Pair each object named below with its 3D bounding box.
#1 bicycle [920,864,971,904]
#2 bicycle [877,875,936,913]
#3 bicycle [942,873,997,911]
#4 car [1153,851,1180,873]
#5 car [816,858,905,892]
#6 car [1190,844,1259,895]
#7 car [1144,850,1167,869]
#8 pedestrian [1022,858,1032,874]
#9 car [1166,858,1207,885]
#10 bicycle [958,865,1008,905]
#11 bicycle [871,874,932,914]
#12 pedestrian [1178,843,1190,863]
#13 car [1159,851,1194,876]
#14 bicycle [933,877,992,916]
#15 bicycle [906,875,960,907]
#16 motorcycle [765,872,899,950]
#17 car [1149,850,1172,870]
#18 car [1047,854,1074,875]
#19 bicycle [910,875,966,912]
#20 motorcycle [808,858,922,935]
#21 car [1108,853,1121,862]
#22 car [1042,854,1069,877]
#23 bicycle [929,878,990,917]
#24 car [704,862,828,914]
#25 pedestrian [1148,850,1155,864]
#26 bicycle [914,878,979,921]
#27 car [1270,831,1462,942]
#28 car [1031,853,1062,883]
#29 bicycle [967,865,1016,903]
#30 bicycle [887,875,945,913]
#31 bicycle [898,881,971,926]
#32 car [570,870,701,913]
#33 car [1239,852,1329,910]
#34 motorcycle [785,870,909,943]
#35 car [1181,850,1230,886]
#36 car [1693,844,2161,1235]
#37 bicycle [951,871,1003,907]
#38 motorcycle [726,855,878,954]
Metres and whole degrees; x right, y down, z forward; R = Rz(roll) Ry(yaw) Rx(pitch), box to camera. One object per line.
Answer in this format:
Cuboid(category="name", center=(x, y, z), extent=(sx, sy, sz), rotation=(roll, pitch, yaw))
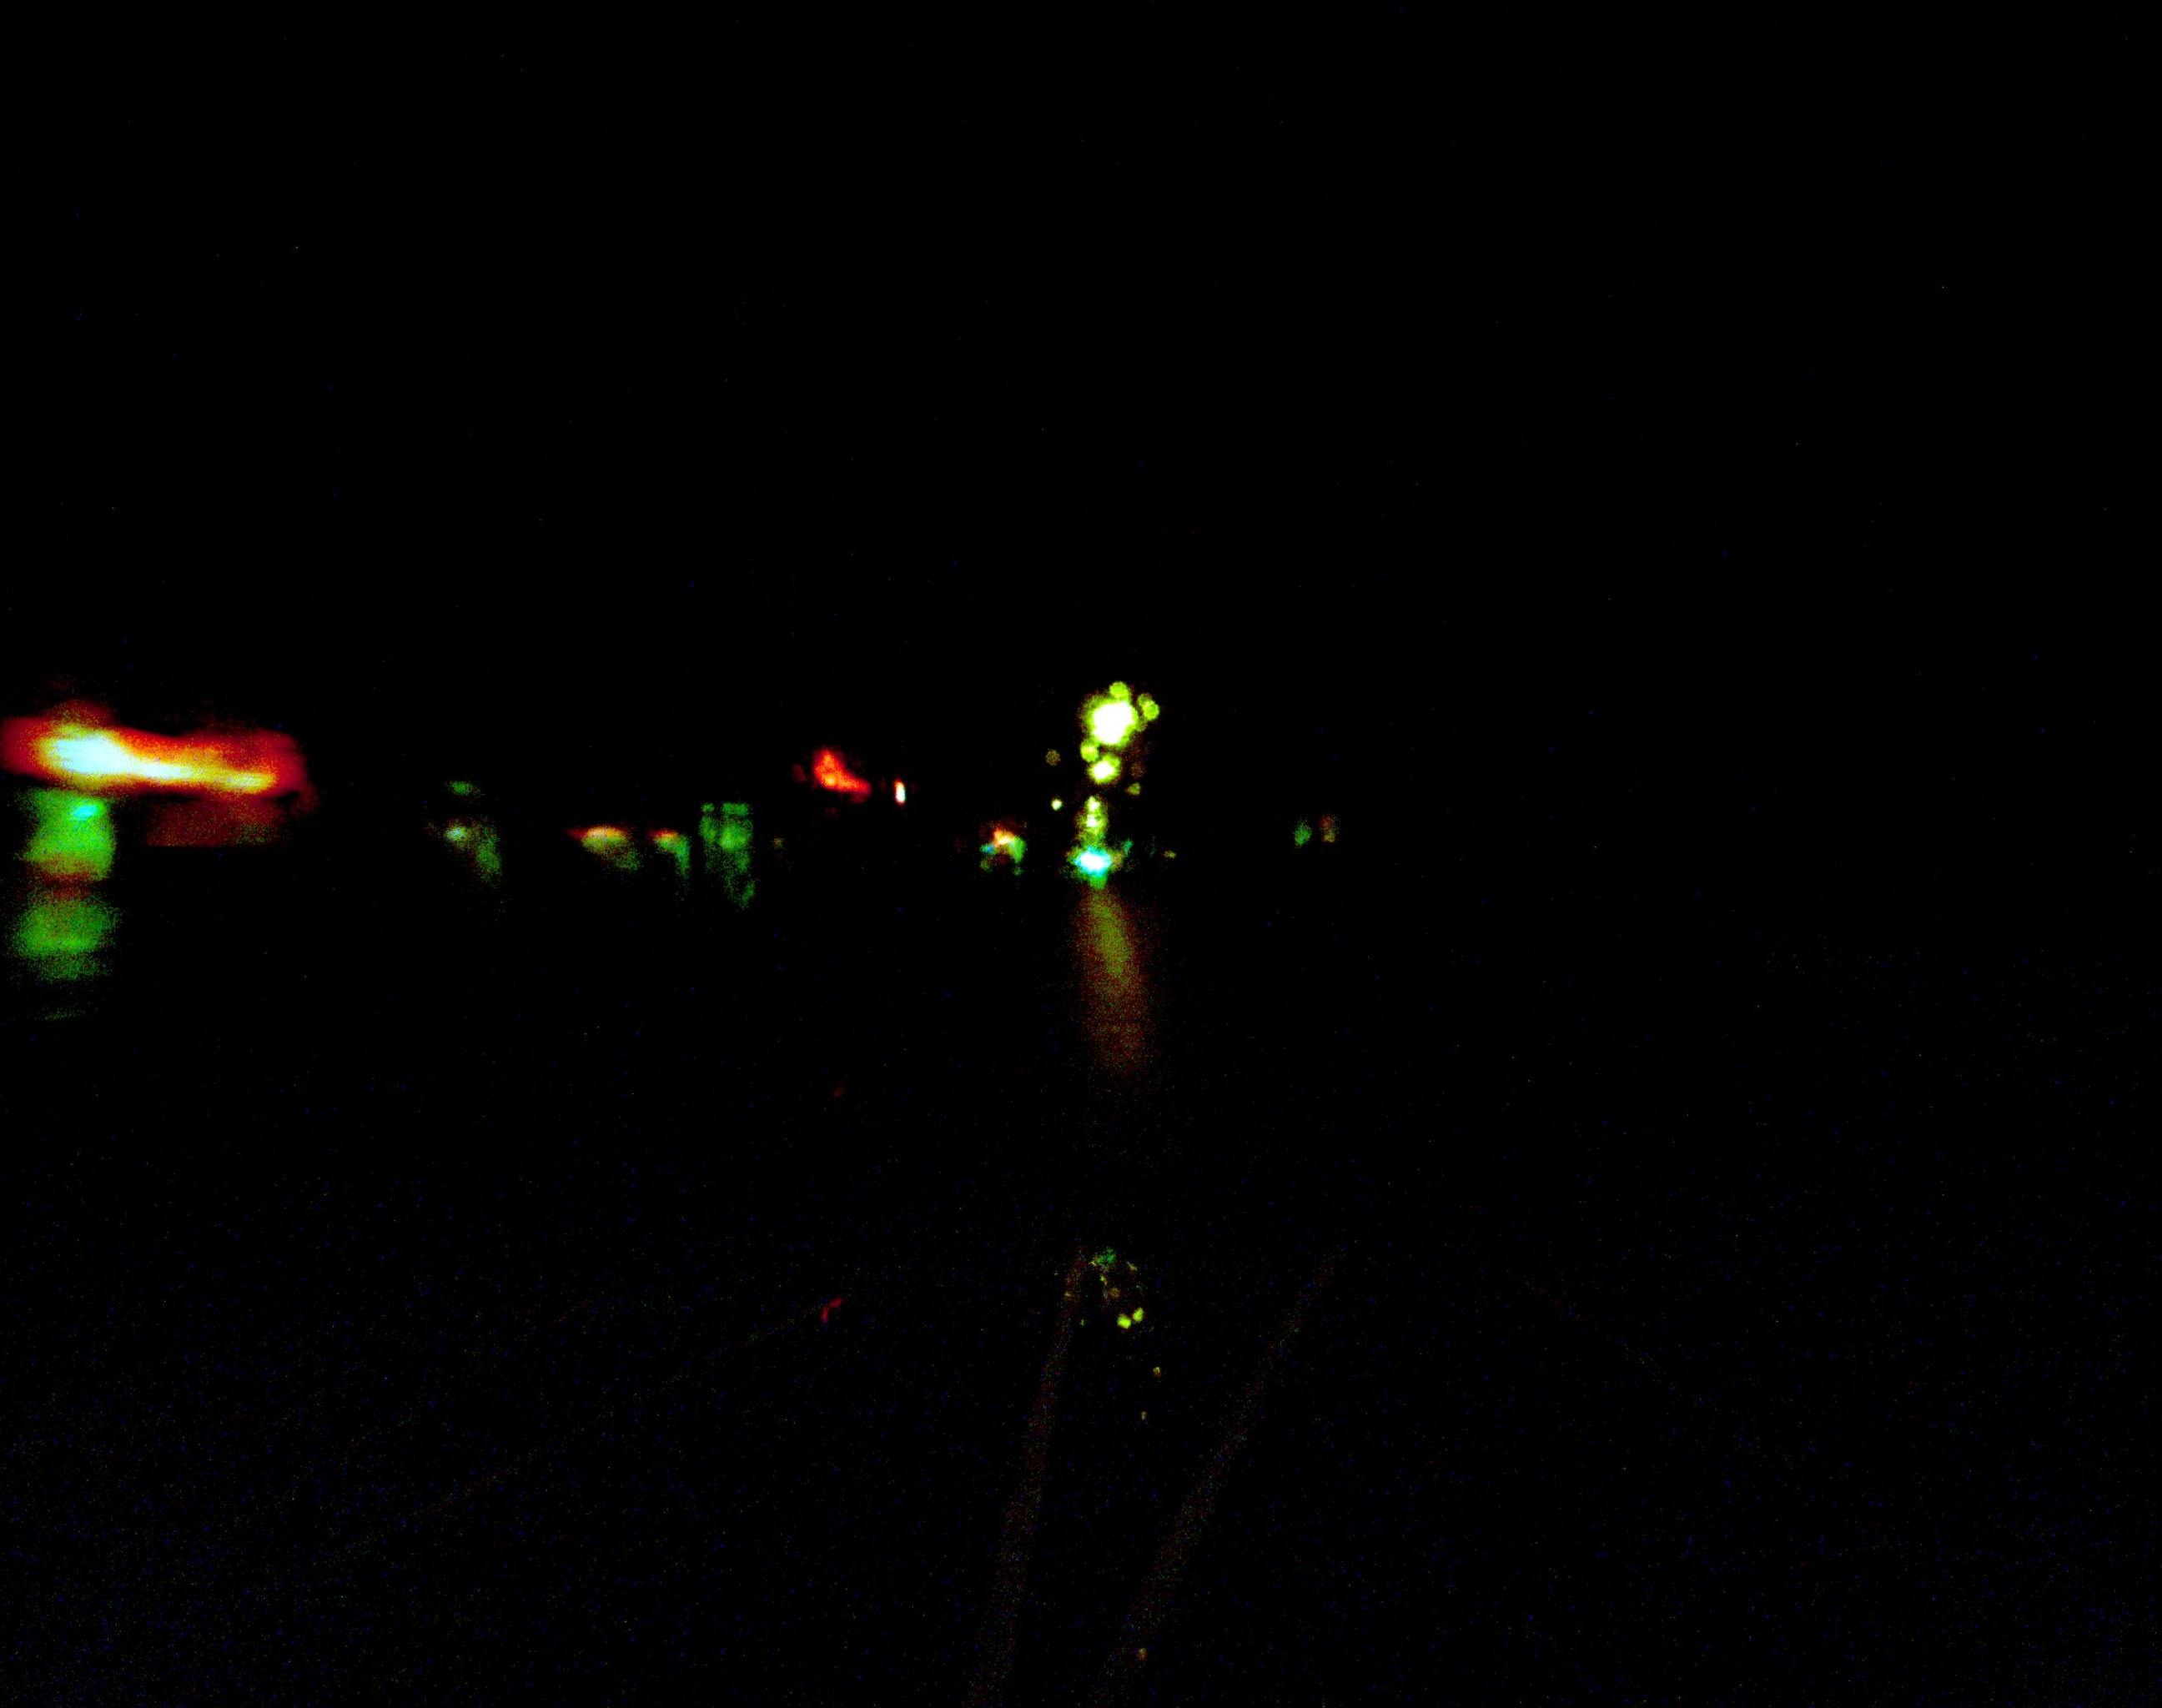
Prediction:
Cuboid(category="bicycle", center=(-4.442, 0.988, 24.885), extent=(1.532, 1.195, 0.366), rotation=(4, 2, -1))
Cuboid(category="bicycle", center=(-4.870, 1.115, 21.235), extent=(1.533, 0.947, 0.366), rotation=(4, 2, -4))
Cuboid(category="bicycle", center=(-3.355, 1.129, 22.916), extent=(1.532, 1.018, 0.366), rotation=(4, 2, 5))
Cuboid(category="car", center=(6.060, 0.545, 54.144), extent=(1.531, 1.445, 3.384), rotation=(-2, 0, 1))
Cuboid(category="car", center=(-11.486, 1.085, 39.832), extent=(3.996, 1.476, 1.895), rotation=(-3, 0, 2))
Cuboid(category="car", center=(5.646, 0.568, 30.516), extent=(1.907, 1.818, 4.829), rotation=(-2, 0, 1))
Cuboid(category="car", center=(6.267, 0.503, 64.355), extent=(1.697, 1.470, 3.964), rotation=(-2, -1, 2))
Cuboid(category="pedestrian", center=(-5.741, 1.292, 80.589), extent=(1.007, 1.698, 0.614), rotation=(-1, 1, 1))
Cuboid(category="car", center=(5.861, 0.946, 42.597), extent=(1.731, 1.384, 4.555), rotation=(-2, 0, 1))
Cuboid(category="bicycle", center=(-3.272, 1.037, 25.351), extent=(1.532, 1.195, 0.366), rotation=(4, 2, -1))
Cuboid(category="bicycle", center=(-4.860, 1.081, 20.596), extent=(1.533, 0.947, 0.366), rotation=(4, 2, -3))
Cuboid(category="pedestrian", center=(9.272, -0.110, 68.573), extent=(0.912, 1.778, 0.629), rotation=(-4, 1, 2))
Cuboid(category="car", center=(6.051, 0.586, 48.500), extent=(1.731, 1.445, 4.273), rotation=(-2, 0, 1))
Cuboid(category="bicycle", center=(-3.280, 1.171, 21.032), extent=(1.533, 0.947, 0.366), rotation=(4, 2, -3))
Cuboid(category="bicycle", center=(-4.554, 1.136, 23.386), extent=(1.532, 0.829, 0.325), rotation=(4, 2, 5))
Cuboid(category="motorcycle", center=(-4.628, 1.050, 14.239), extent=(2.178, 1.311, 0.867), rotation=(2, 1, 0))
Cuboid(category="car", center=(6.282, 0.515, 60.324), extent=(1.696, 1.470, 3.385), rotation=(-2, -1, 5))
Cuboid(category="car", center=(-1.551, 0.777, 58.965), extent=(1.846, 1.498, 4.162), rotation=(-1, 0, 1))
Cuboid(category="bicycle", center=(-4.236, 1.162, 22.482), extent=(1.532, 0.947, 0.366), rotation=(4, 2, 5))
Cuboid(category="motorcycle", center=(-4.652, 0.905, 16.506), extent=(2.178, 1.538, 0.867), rotation=(2, 1, 0))
Cuboid(category="car", center=(5.561, 0.517, 126.177), extent=(1.877, 1.386, 4.075), rotation=(-2, -1, 4))
Cuboid(category="car", center=(-1.769, 0.810, 53.610), extent=(1.689, 1.498, 4.162), rotation=(-1, 0, 1))
Cuboid(category="bicycle", center=(-3.290, 1.172, 20.617), extent=(1.533, 0.947, 0.366), rotation=(4, 2, -3))
Cuboid(category="car", center=(-12.630, 1.348, 30.650), extent=(4.155, 1.760, 1.843), rotation=(-3, 0, 2))
Cuboid(category="pedestrian", center=(10.102, 0.445, 109.187), extent=(0.776, 2.002, 0.587), rotation=(-4, 1, 1))
Cuboid(category="bicycle", center=(-3.421, 1.141, 19.279), extent=(1.531, 0.947, 0.366), rotation=(4, 2, 8))
Cuboid(category="car", center=(5.462, 0.543, 15.445), extent=(2.001, 1.818, 5.207), rotation=(-2, 0, 1))
Cuboid(category="car", center=(-2.102, 0.837, 47.417), extent=(1.676, 1.712, 3.856), rotation=(-1, 0, 1))
Cuboid(category="bicycle", center=(-3.041, 1.015, 25.798), extent=(1.532, 1.195, 0.366), rotation=(4, 2, 3))
Cuboid(category="bicycle", center=(-4.701, 1.138, 21.670), extent=(1.533, 0.947, 0.366), rotation=(4, 2, -3))
Cuboid(category="bicycle", center=(-3.587, 1.199, 18.635), extent=(1.672, 0.947, 0.366), rotation=(4, 2, 8))
Cuboid(category="car", center=(-18.062, 1.511, 30.934), extent=(4.155, 1.425, 1.843), rotation=(-3, 0, 2))
Cuboid(category="car", center=(5.605, 0.695, 21.388), extent=(1.573, 1.451, 3.720), rotation=(-2, 0, 1))
Cuboid(category="motorcycle", center=(-4.640, 1.033, 15.172), extent=(2.178, 1.311, 0.867), rotation=(2, 1, 0))
Cuboid(category="car", center=(5.824, 0.642, 35.927), extent=(1.731, 1.565, 3.720), rotation=(-2, 0, 1))
Cuboid(category="car", center=(5.270, 0.756, 3.055), extent=(1.771, 1.474, 4.772), rotation=(-5, 0, 2))
Cuboid(category="bicycle", center=(-3.305, 1.111, 24.221), extent=(1.532, 1.018, 0.366), rotation=(4, 2, -1))
Cuboid(category="motorcycle", center=(-4.839, 0.856, 13.295), extent=(2.294, 1.579, 0.867), rotation=(2, 1, 0))
